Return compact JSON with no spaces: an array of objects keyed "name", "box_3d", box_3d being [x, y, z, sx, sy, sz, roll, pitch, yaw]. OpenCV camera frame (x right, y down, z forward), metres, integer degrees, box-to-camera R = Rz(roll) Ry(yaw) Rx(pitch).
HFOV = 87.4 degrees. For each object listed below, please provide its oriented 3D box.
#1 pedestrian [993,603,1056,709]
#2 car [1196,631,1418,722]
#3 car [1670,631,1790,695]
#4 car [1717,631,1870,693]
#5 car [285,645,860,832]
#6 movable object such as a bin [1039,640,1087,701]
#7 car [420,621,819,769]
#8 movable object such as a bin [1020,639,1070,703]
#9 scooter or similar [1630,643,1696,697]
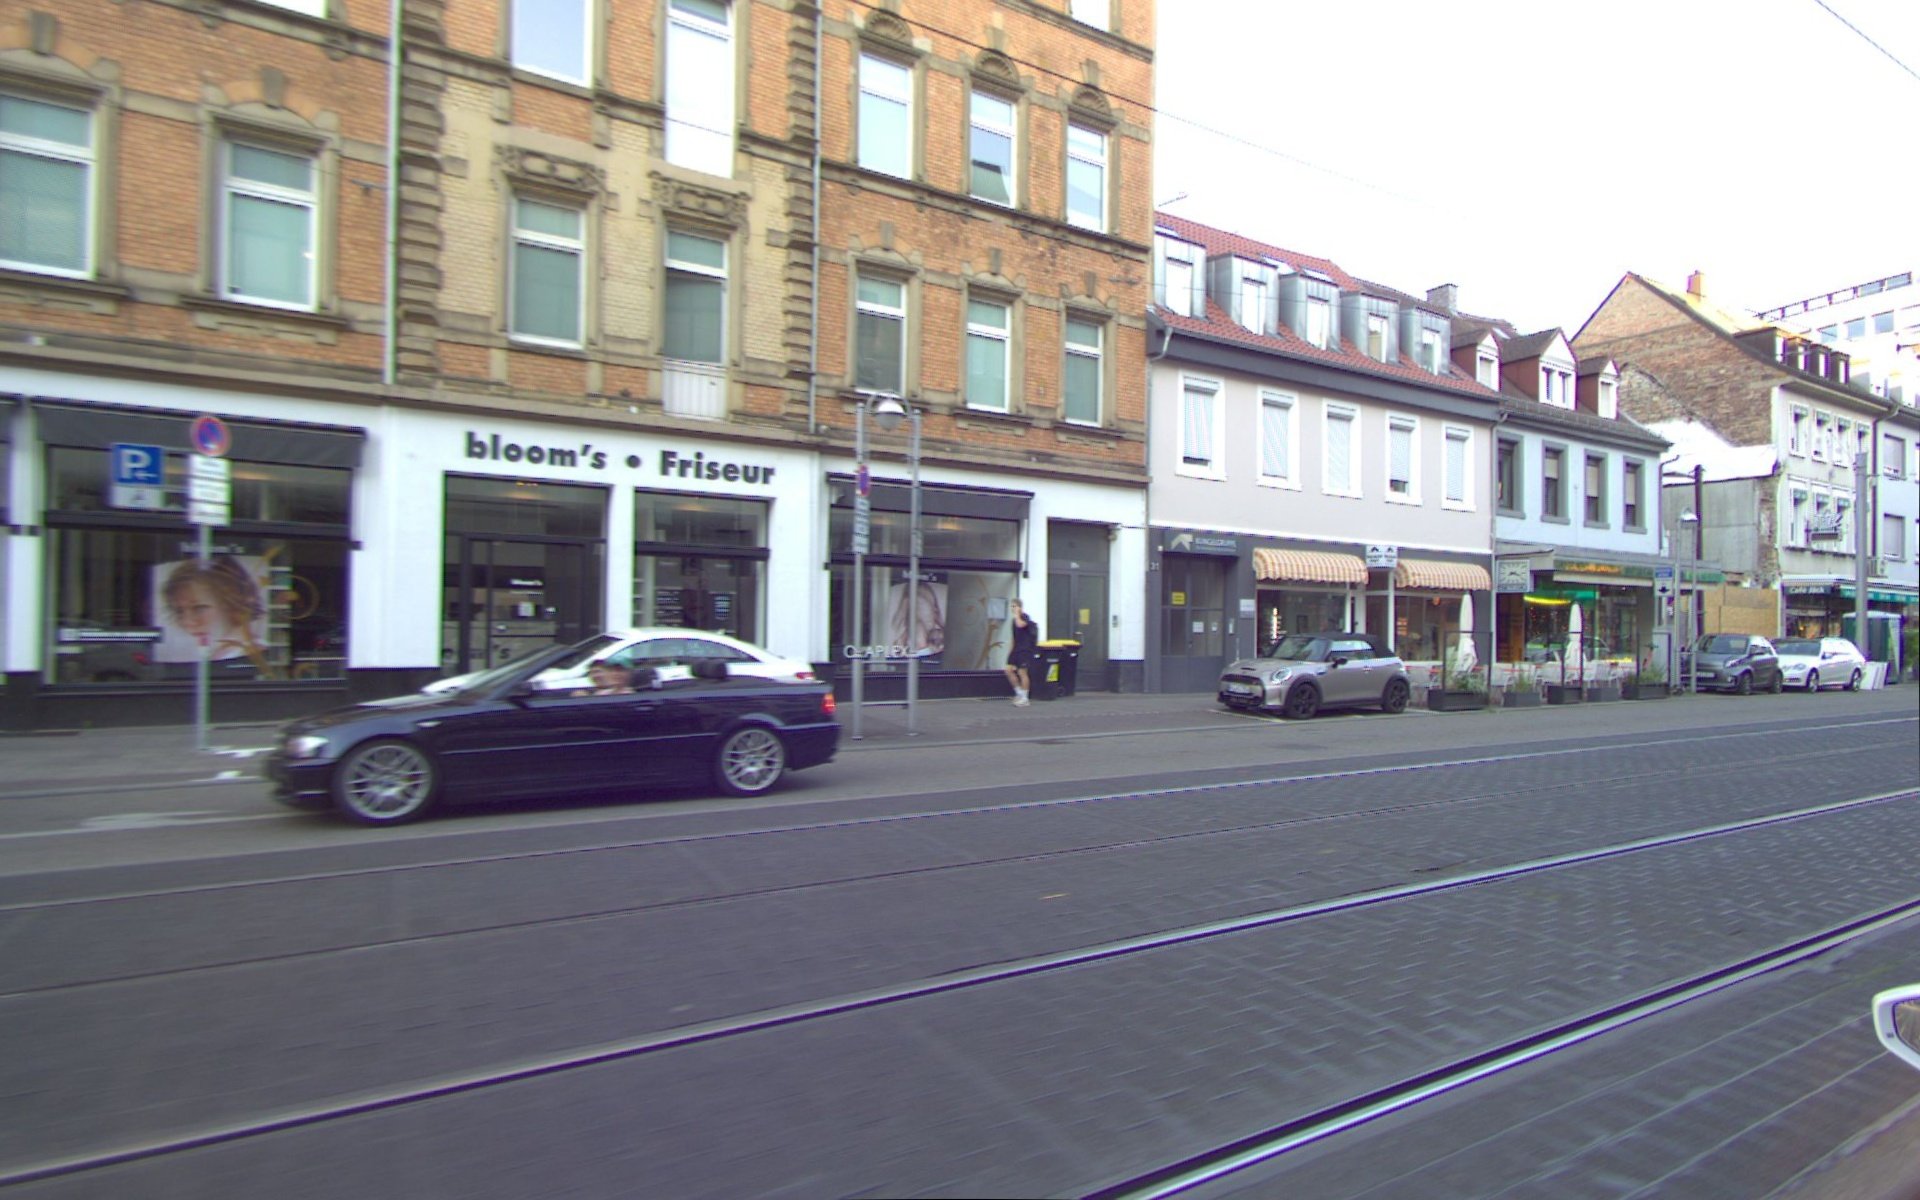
[{"name":"pedestrian","box_3d":[1.121,0.956,17.547,0.845,1.796,0.645,1,0,-30]},{"name":"car","box_3d":[6.353,1.333,18.314,3.819,1.408,1.725,2,1,-30]},{"name":"car","box_3d":[20.174,1.618,26.308,2.781,1.524,1.583,2,1,-32]},{"name":"car","box_3d":[23.837,1.733,28.700,4.786,1.524,1.840,2,1,-31]},{"name":"car","box_3d":[-3.104,1.019,8.521,4.225,1.244,1.659,2,-4,-31]},{"name":"movable object such as a bin","box_3d":[1.997,1.354,19.439,0.720,1.146,0.587,1,-2,-30]},{"name":"car","box_3d":[-3.997,1.029,12.033,4.227,1.408,1.749,2,1,-33]},{"name":"movable object such as a bin","box_3d":[1.581,1.312,18.694,0.720,1.146,0.587,1,-2,-30]},{"name":"scooter or similar","box_3d":[17.268,1.697,24.700,0.290,1.221,1.308,1,1,-29]}]
